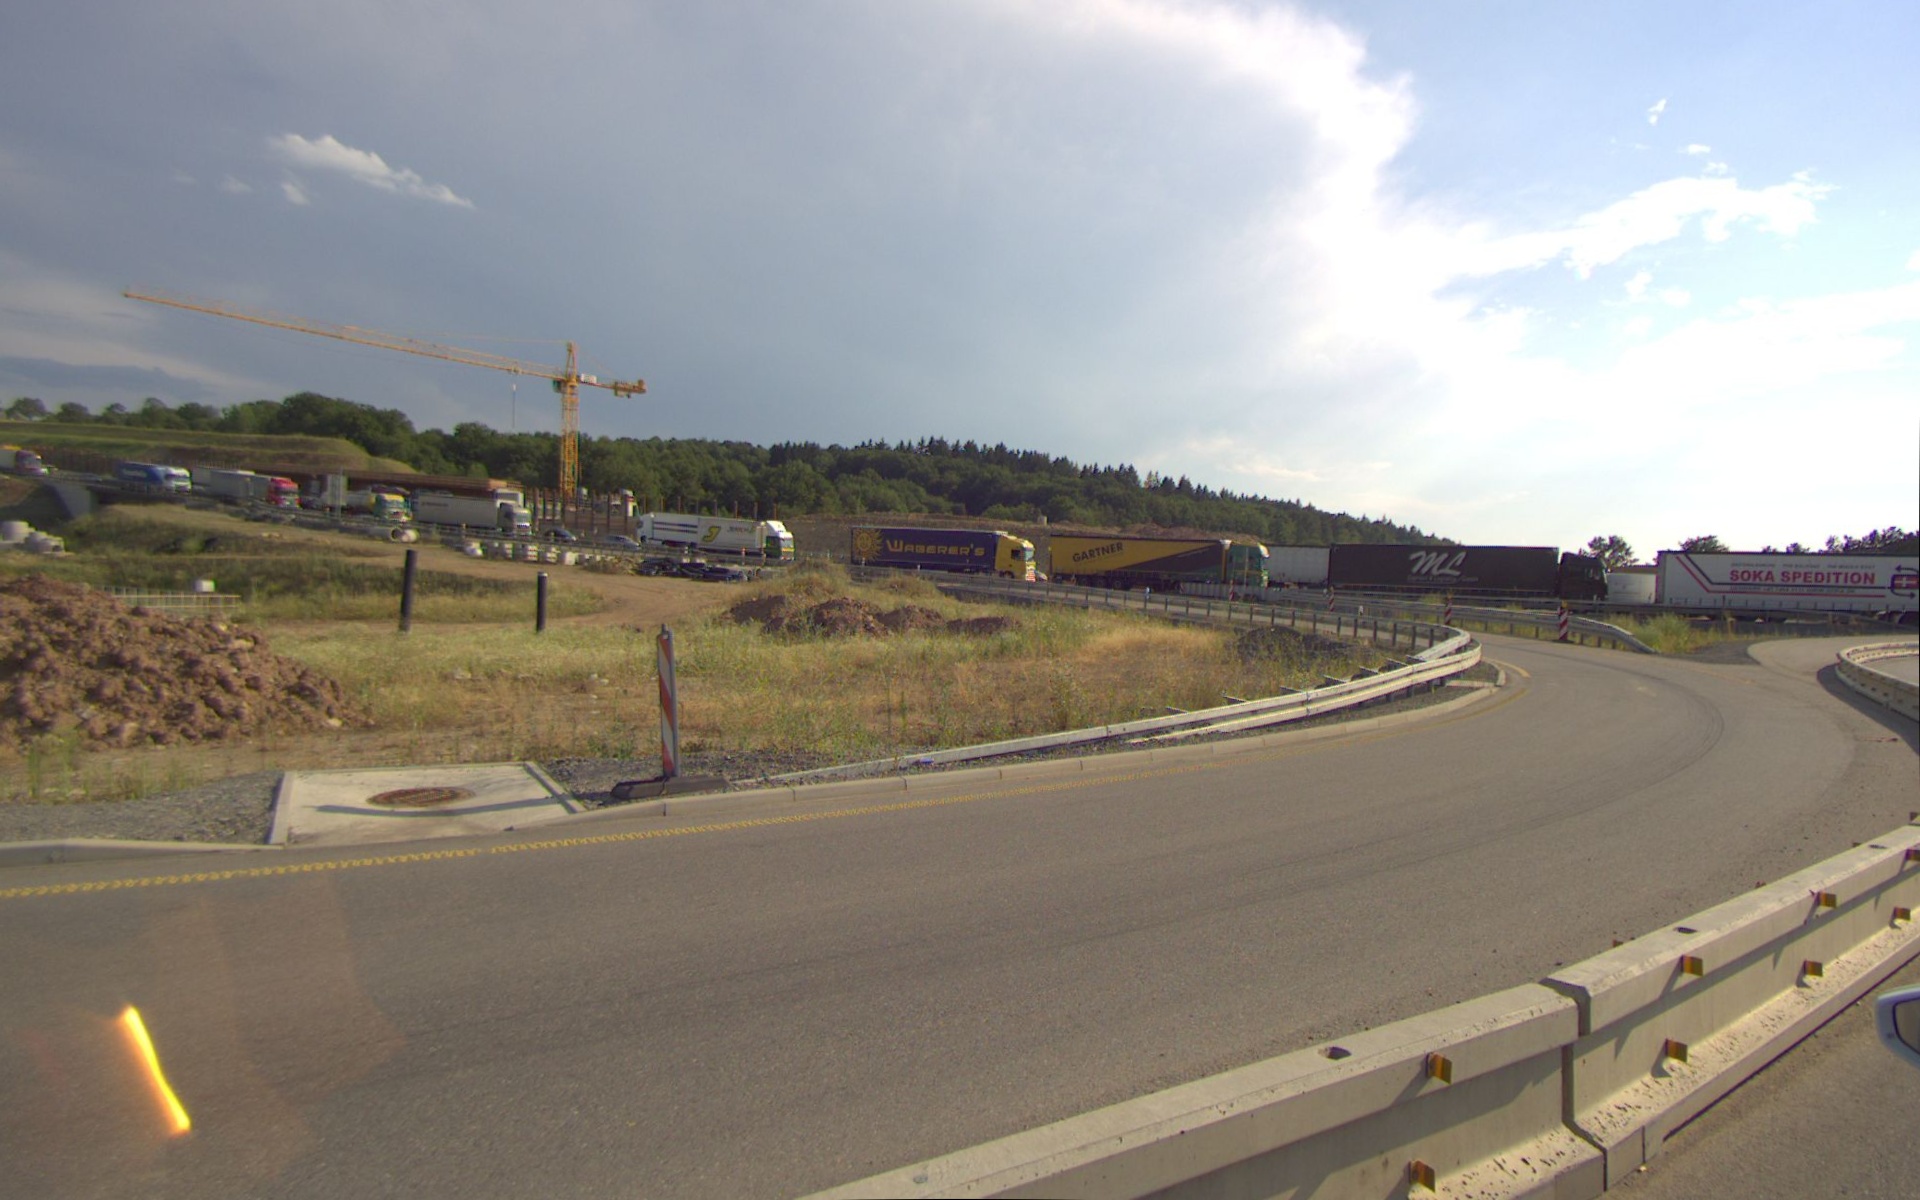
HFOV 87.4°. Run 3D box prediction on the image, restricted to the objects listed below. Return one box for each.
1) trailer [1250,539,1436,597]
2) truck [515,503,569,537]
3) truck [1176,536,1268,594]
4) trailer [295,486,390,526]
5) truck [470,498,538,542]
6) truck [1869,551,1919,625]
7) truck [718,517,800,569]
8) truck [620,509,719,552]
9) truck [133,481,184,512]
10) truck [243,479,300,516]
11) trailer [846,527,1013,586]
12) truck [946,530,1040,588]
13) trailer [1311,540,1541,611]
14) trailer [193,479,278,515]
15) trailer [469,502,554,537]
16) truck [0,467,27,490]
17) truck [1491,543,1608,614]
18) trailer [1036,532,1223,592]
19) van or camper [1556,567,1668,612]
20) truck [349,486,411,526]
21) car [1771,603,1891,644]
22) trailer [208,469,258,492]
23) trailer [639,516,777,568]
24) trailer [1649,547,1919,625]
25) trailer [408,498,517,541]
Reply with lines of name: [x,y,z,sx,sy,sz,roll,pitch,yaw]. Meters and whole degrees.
trailer: [29.900,-2.577,78.844,13.225,4.050,2.863,3,2,27]
truck: [-56.263,-10.779,135.145,6.773,4.372,3.108,3,1,30]
truck: [18.900,-2.548,72.577,5.900,3.954,2.485,3,3,27]
trailer: [-75.247,-11.479,122.270,13.989,4.372,3.109,3,1,28]
truck: [-48.988,-8.610,107.867,6.769,4.372,3.109,3,1,28]
truck: [54.062,-0.573,54.839,5.899,3.931,2.485,3,3,26]
truck: [-18.410,-5.222,91.961,6.769,4.372,3.109,3,1,28]
truck: [-33.093,-7.896,114.025,12.961,4.471,3.560,3,1,37]
truck: [-112.697,-14.502,141.241,8.398,4.054,2.519,3,1,29]
truck: [-88.223,-13.146,128.741,6.769,4.372,3.109,3,1,28]
trailer: [-2.699,-3.648,83.741,13.989,4.372,3.109,3,1,28]
truck: [2.637,-3.296,80.938,6.769,4.372,3.109,3,1,28]
trailer: [30.467,-1.715,66.370,13.377,4.116,2.485,3,3,27]
trailer: [-95.889,-13.608,132.816,13.989,4.372,3.109,3,1,28]
trailer: [-61.971,-11.129,138.521,13.998,4.372,3.107,3,1,30]
truck: [-154.479,-19.761,163.240,6.100,3.512,1.998,3,1,26]
truck: [36.961,-1.383,63.198,5.897,4.115,2.486,3,3,24]
trailer: [12.584,-2.962,75.832,13.717,4.012,2.485,3,3,27]
van or camper: [42.008,-0.719,64.934,5.797,2.655,1.996,3,3,29]
truck: [-68.473,-11.084,118.654,6.769,4.372,3.109,3,1,28]
car: [51.404,1.339,59.413,4.888,2.008,2.032,3,4,28]
trailer: [-121.256,-19.883,167.486,10.969,3.561,1.969,3,1,28]
trailer: [-23.963,-5.530,94.879,13.989,4.372,3.109,3,1,28]
trailer: [48.048,-0.892,57.835,13.377,3.931,2.485,3,3,27]
trailer: [-55.069,-8.954,111.000,13.989,4.372,3.109,3,1,28]
